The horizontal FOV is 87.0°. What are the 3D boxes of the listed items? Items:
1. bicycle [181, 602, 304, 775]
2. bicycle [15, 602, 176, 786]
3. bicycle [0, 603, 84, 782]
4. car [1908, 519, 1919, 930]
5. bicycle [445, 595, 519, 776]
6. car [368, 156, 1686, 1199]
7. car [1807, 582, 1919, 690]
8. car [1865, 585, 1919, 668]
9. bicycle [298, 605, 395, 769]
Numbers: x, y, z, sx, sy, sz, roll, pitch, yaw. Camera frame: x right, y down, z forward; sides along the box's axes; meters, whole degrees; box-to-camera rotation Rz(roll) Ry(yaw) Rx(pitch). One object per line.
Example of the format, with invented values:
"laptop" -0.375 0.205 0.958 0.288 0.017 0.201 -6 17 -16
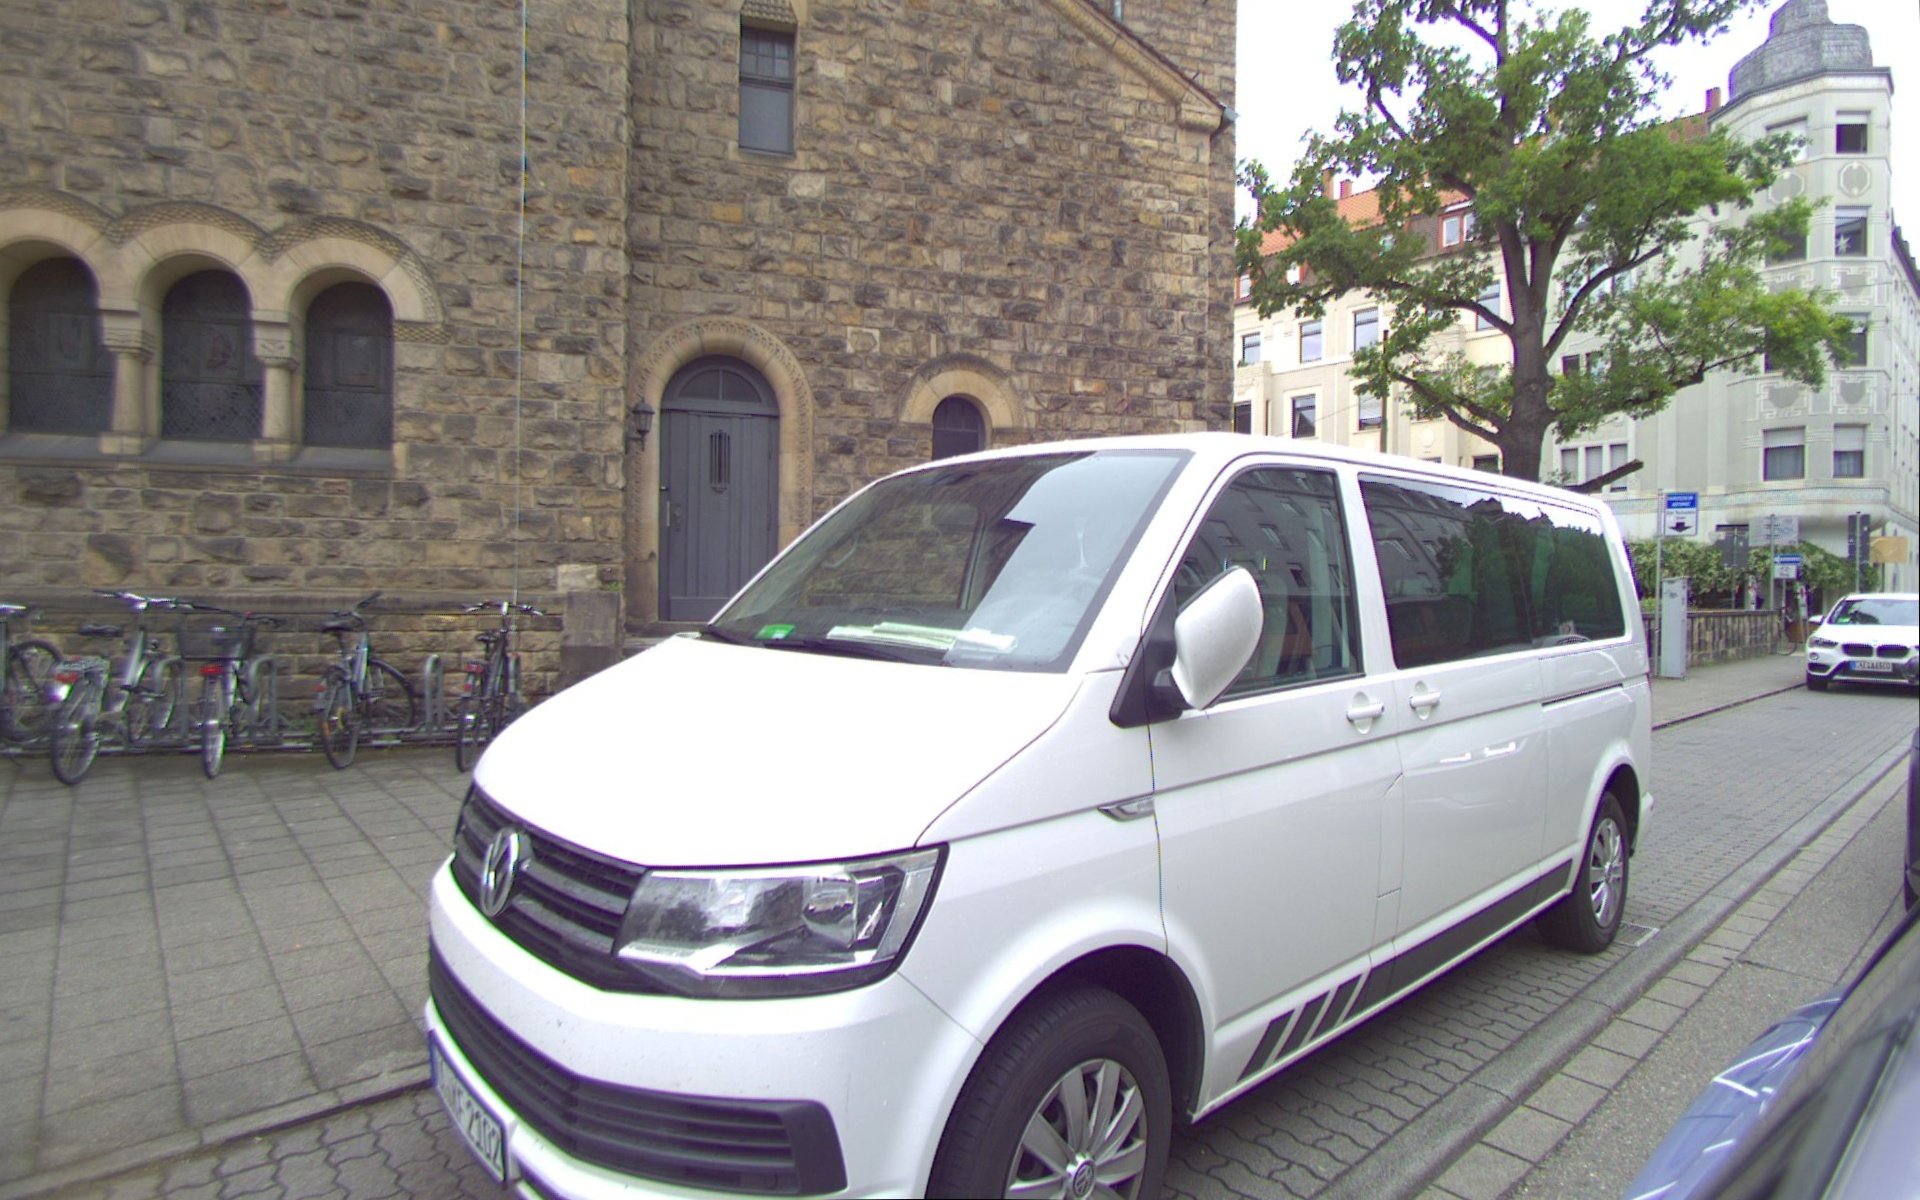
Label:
"bicycle" -5.006 0.563 7.122 0.304 1.073 1.386 1 0 -18
"bicycle" -5.677 0.558 6.713 0.304 1.073 1.386 1 0 -18
"bicycle" -6.092 0.571 6.411 0.304 1.073 1.386 1 0 -18
"car" 6.034 0.531 4.822 3.930 1.706 1.818 0 0 -41
"bicycle" -3.383 0.550 7.214 0.304 1.161 1.346 1 0 -18
"car" 0.919 0.383 3.703 5.075 1.944 1.807 0 0 -42
"car" 15.454 0.530 16.583 3.930 1.585 1.818 0 1 -41
"car" 19.814 0.506 20.432 3.930 1.585 1.818 0 1 -41
"bicycle" -4.469 0.583 7.423 0.304 1.073 1.346 1 0 -18
